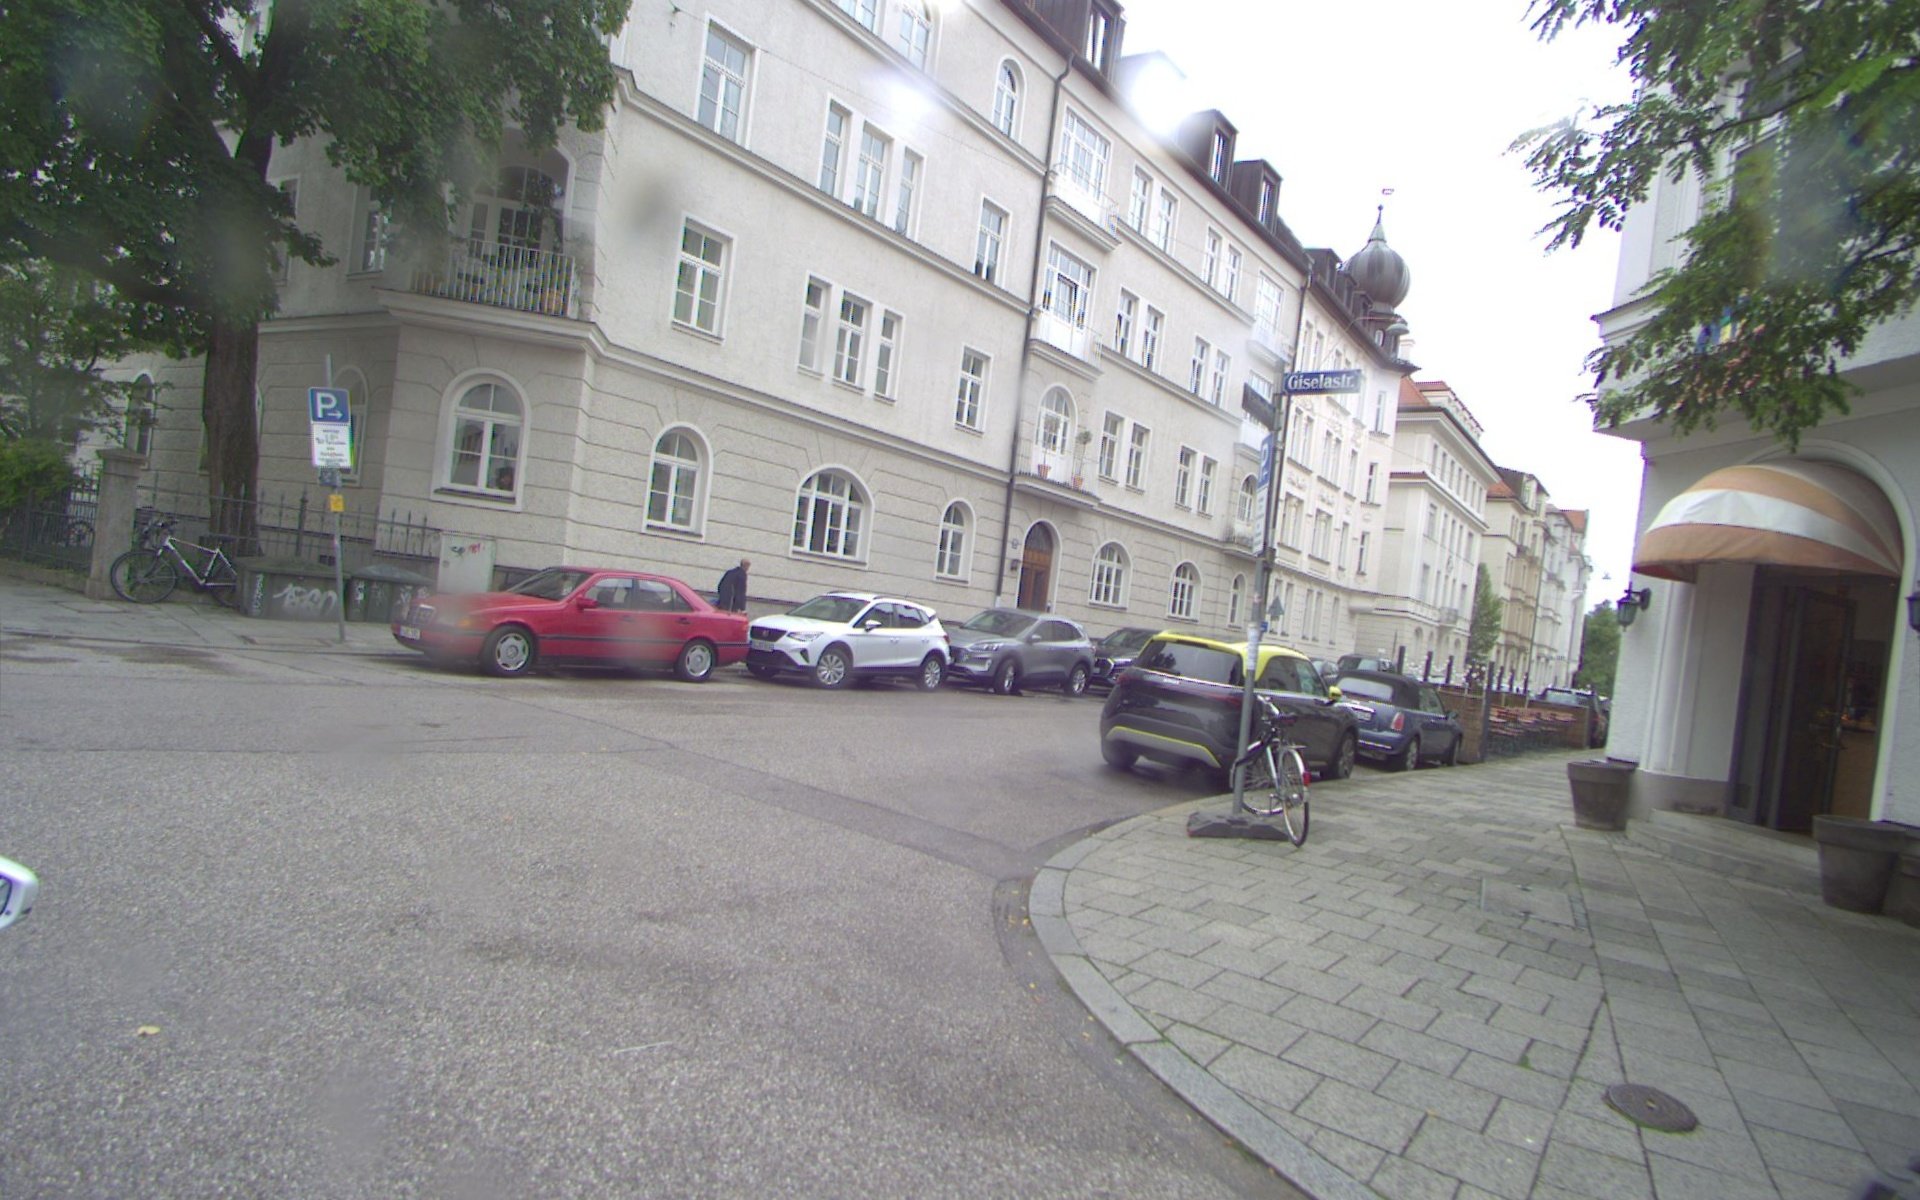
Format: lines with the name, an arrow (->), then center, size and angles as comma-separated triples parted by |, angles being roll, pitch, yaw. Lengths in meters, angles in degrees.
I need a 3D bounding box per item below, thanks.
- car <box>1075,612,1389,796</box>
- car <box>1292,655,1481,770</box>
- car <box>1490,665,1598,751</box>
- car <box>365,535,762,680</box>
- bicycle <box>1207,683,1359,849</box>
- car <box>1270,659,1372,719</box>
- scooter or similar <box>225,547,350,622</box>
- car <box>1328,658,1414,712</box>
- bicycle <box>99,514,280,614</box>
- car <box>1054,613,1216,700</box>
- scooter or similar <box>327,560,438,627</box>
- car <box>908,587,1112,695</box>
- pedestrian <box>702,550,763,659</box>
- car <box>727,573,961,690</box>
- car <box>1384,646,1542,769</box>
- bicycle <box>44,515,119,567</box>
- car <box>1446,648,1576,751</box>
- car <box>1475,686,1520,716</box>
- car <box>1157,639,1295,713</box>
car -> 3.355, 1.214, 11.871 | 1.879, 1.616, 4.070 | 7, -1, 41
car -> 6.913, 1.793, 16.127 | 1.677, 1.442, 3.525 | 7, -1, 41
car -> 15.261, 2.811, 26.183 | 1.717, 1.834, 3.985 | 7, -1, 39
car -> -4.901, 0.188, 13.054 | 1.733, 1.374, 4.467 | 7, 0, 37
bicycle -> 2.604, 1.250, 8.007 | 0.727, 1.082, 1.602 | 3, -1, 32
car -> 12.468, 3.100, 34.584 | 1.862, 1.683, 4.277 | 7, -1, 39
scooter or similar -> -9.474, -0.210, 14.186 | 0.911, 0.858, 1.182 | 7, -1, 39
car -> 15.702, 3.275, 38.332 | 1.805, 1.691, 4.043 | 7, -1, 39
bicycle -> -10.631, -0.470, 13.946 | 0.554, 1.138, 1.836 | 8, 0, 39
car -> 4.299, 1.411, 24.265 | 1.862, 1.684, 4.276 | 8, 0, 39
scooter or similar -> -8.737, -0.093, 15.238 | 0.686, 0.835, 1.237 | 7, -1, 39
car -> 1.126, 0.895, 20.587 | 1.727, 1.732, 4.323 | 7, 0, 41
pedestrian -> -4.145, 0.087, 18.348 | 0.729, 1.899, 0.495 | 7, 0, 25
car -> -1.789, 0.585, 16.630 | 1.541, 1.539, 3.888 | 7, -1, 35
car -> 10.014, 2.115, 19.878 | 1.749, 1.993, 3.916 | 7, -1, 40
bicycle -> -17.101, -1.161, 19.565 | 2.237, 0.822, 0.492 | 7, 0, 34
car -> 12.581, 2.282, 22.880 | 1.706, 1.958, 3.645 | 7, -1, 41
car -> 34.064, 6.399, 63.703 | 1.968, 1.528, 3.990 | 7, -1, 35
car -> 7.624, 2.198, 28.627 | 1.864, 1.684, 4.271 | 8, 0, 43
